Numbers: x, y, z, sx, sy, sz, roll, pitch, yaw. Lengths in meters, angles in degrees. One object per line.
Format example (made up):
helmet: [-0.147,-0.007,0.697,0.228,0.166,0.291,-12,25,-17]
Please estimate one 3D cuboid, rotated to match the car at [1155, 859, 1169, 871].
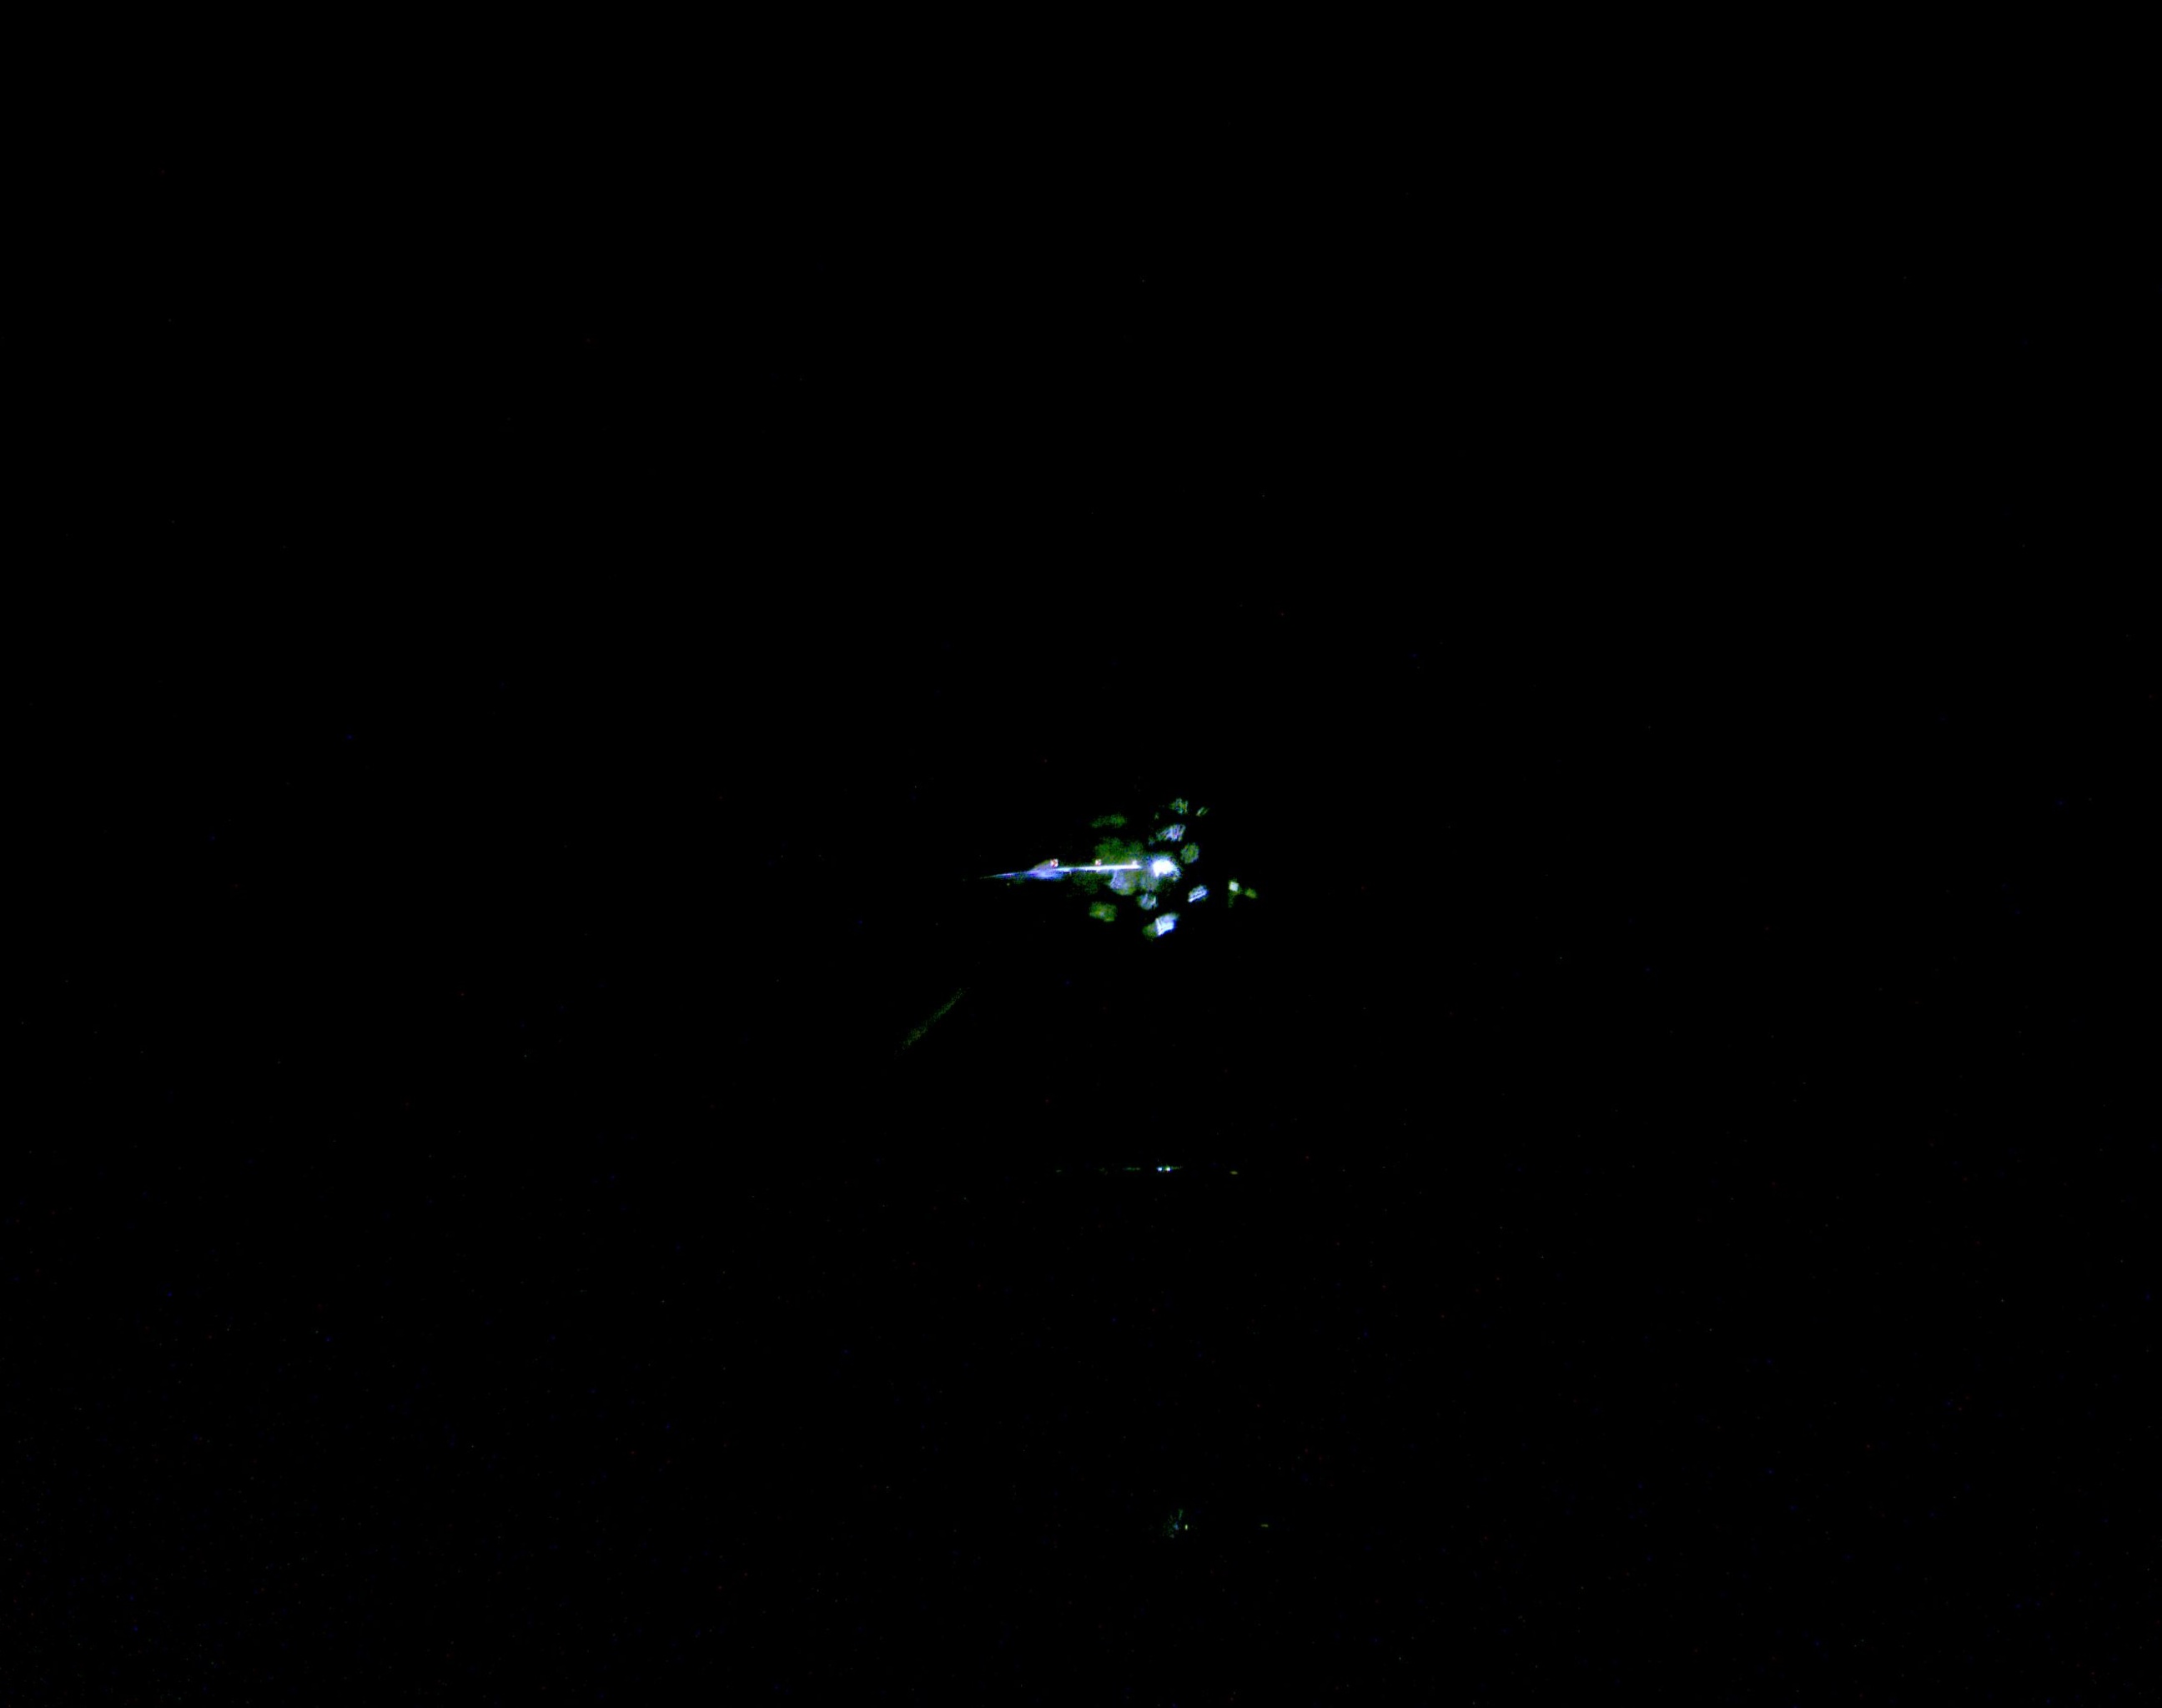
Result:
car: [12.475,1.697,125.174,1.983,1.693,4.705,-1,-2,6]
